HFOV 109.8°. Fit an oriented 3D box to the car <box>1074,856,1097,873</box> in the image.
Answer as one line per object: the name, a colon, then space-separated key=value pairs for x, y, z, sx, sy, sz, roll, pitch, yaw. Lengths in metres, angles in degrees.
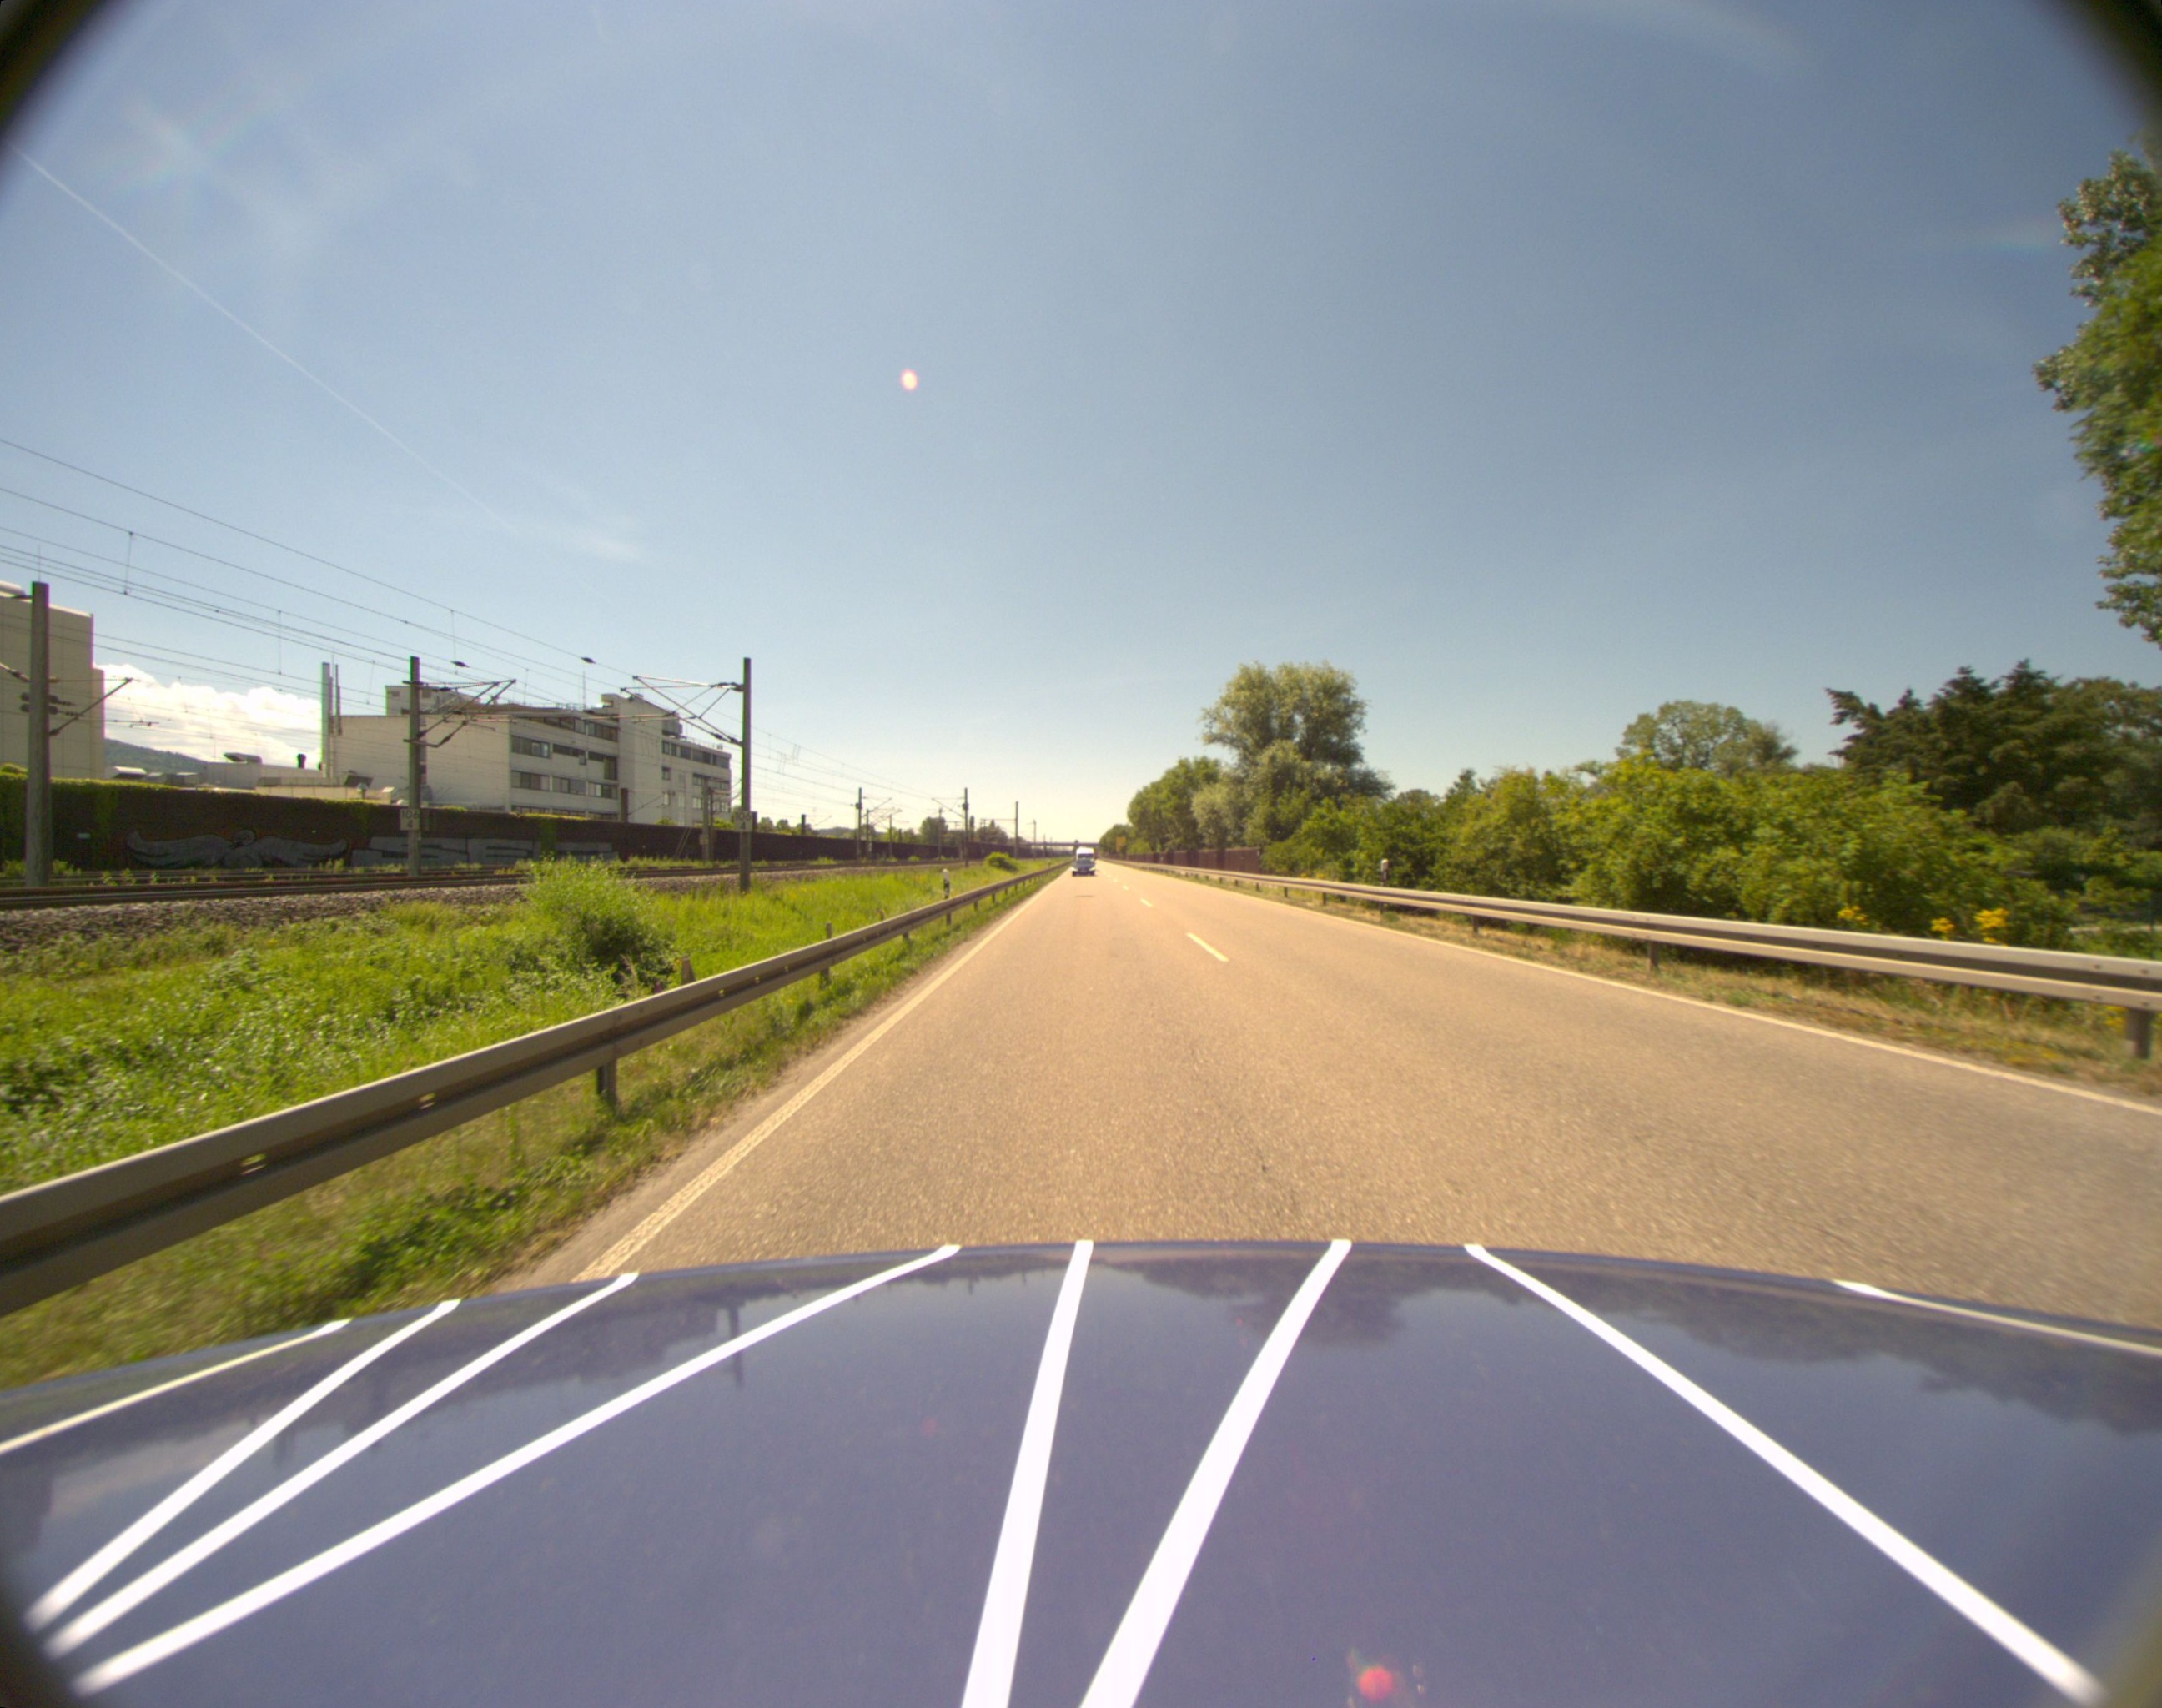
car: x=0.344 y=0.849 z=62.123 sx=1.758 sy=1.313 sz=4.000 roll=-2 pitch=0 yaw=0

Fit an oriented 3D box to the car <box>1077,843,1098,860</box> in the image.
car: x=0.738 y=-0.289 z=85.310 sx=2.161 sy=1.701 sz=4.492 roll=-2 pitch=0 yaw=0
